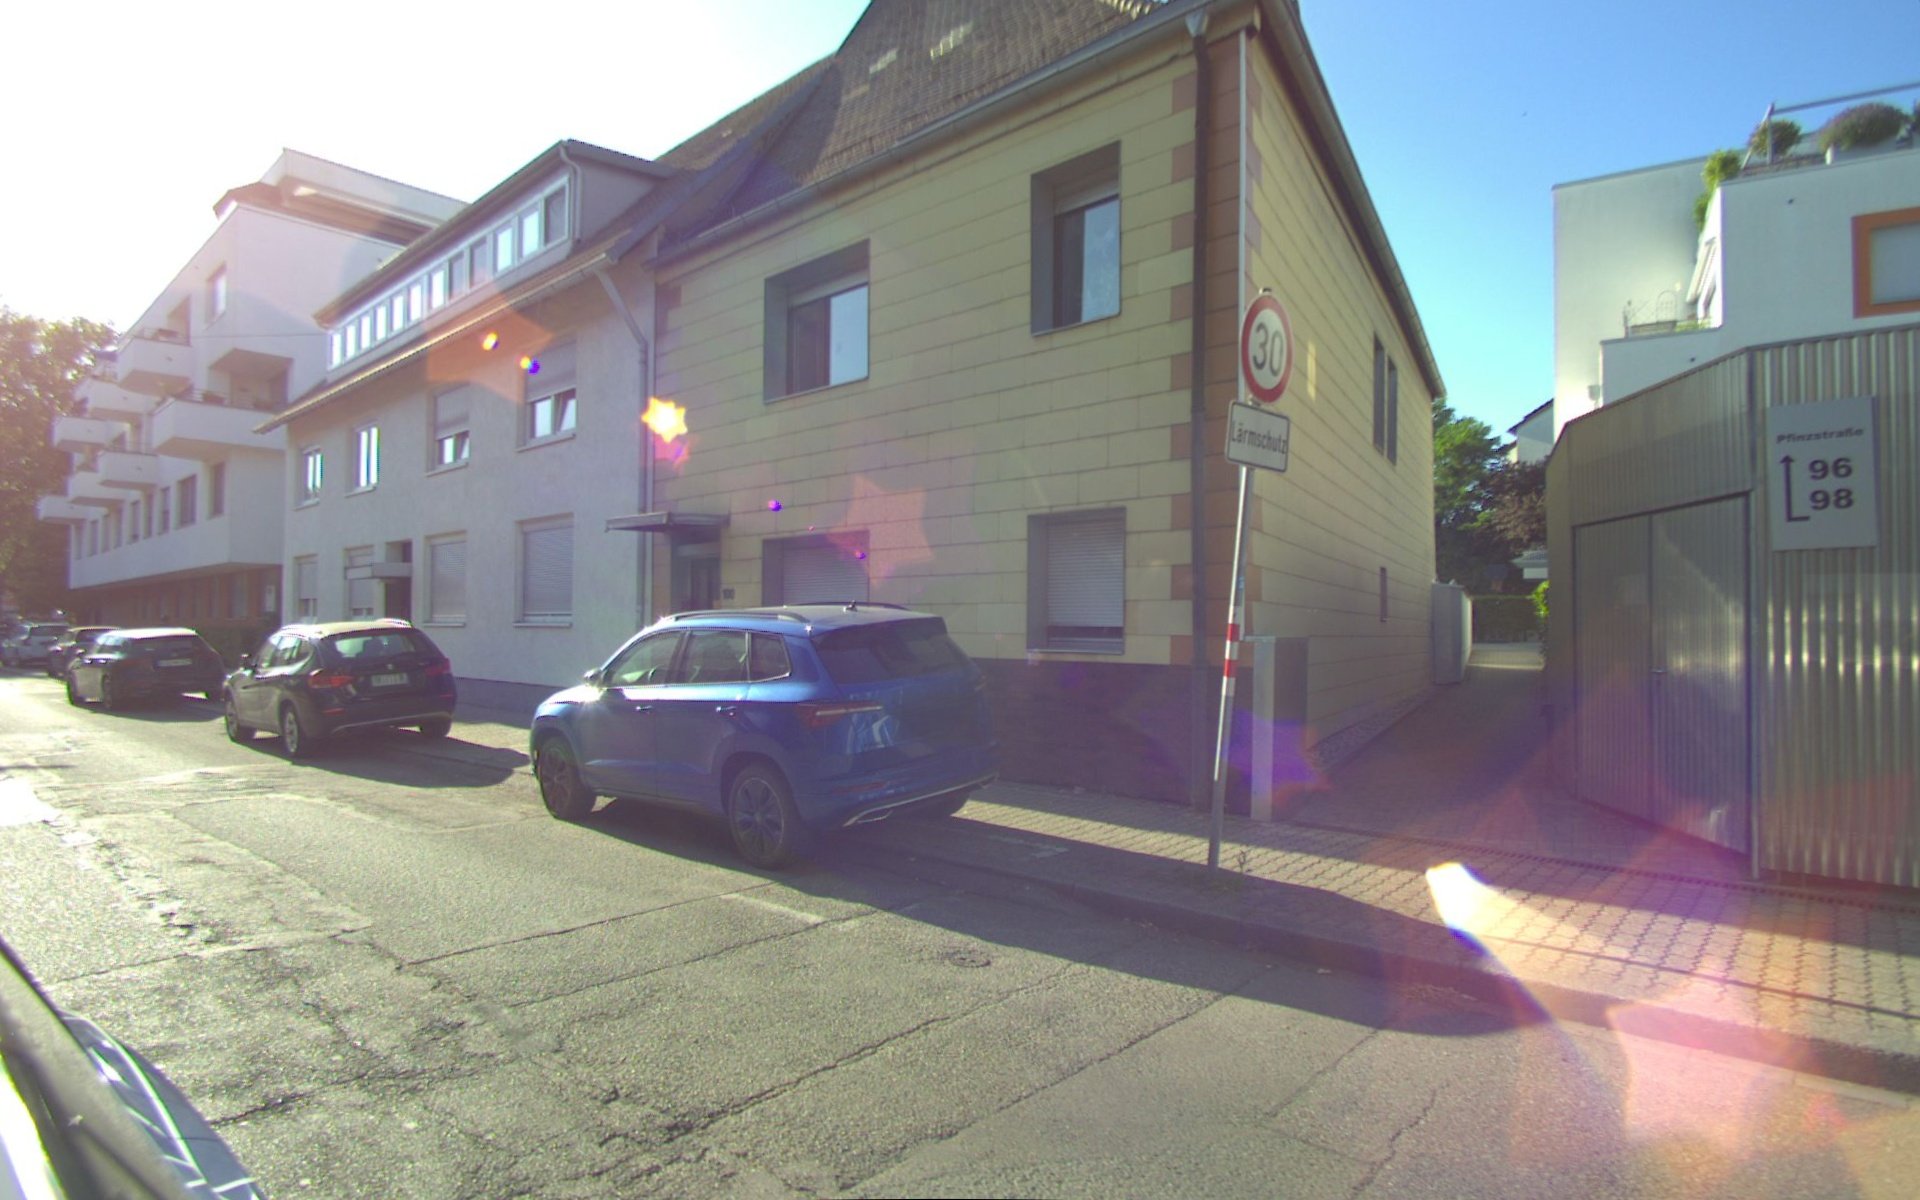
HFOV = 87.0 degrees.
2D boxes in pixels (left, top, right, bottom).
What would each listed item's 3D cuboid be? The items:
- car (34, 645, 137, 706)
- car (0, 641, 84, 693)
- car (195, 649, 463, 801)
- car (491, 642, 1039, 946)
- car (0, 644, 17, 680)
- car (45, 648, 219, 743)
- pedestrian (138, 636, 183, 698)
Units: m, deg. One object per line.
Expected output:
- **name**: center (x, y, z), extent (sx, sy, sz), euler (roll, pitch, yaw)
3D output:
- **car**: center (-25.215, 2.112, 29.147), extent (3.854, 1.547, 1.650), euler (-1, -1, 40)
- **car**: center (-32.413, 2.285, 35.397), extent (4.614, 1.599, 1.840), euler (-1, -1, 38)
- **car**: center (-8.330, 1.475, 13.201), extent (4.334, 1.599, 1.838), euler (-3, -2, 42)
- **car**: center (-1.649, 1.172, 7.545), extent (4.190, 1.599, 1.790), euler (-4, -3, 41)
- **car**: center (-41.302, 2.620, 42.774), extent (3.767, 1.444, 1.658), euler (-1, -1, 39)
- **car**: center (-16.105, 1.751, 19.625), extent (4.328, 1.547, 1.669), euler (-1, -1, 37)
- **pedestrian**: center (-25.186, 2.092, 31.895), extent (0.849, 1.832, 1.135), euler (-2, -1, -26)
